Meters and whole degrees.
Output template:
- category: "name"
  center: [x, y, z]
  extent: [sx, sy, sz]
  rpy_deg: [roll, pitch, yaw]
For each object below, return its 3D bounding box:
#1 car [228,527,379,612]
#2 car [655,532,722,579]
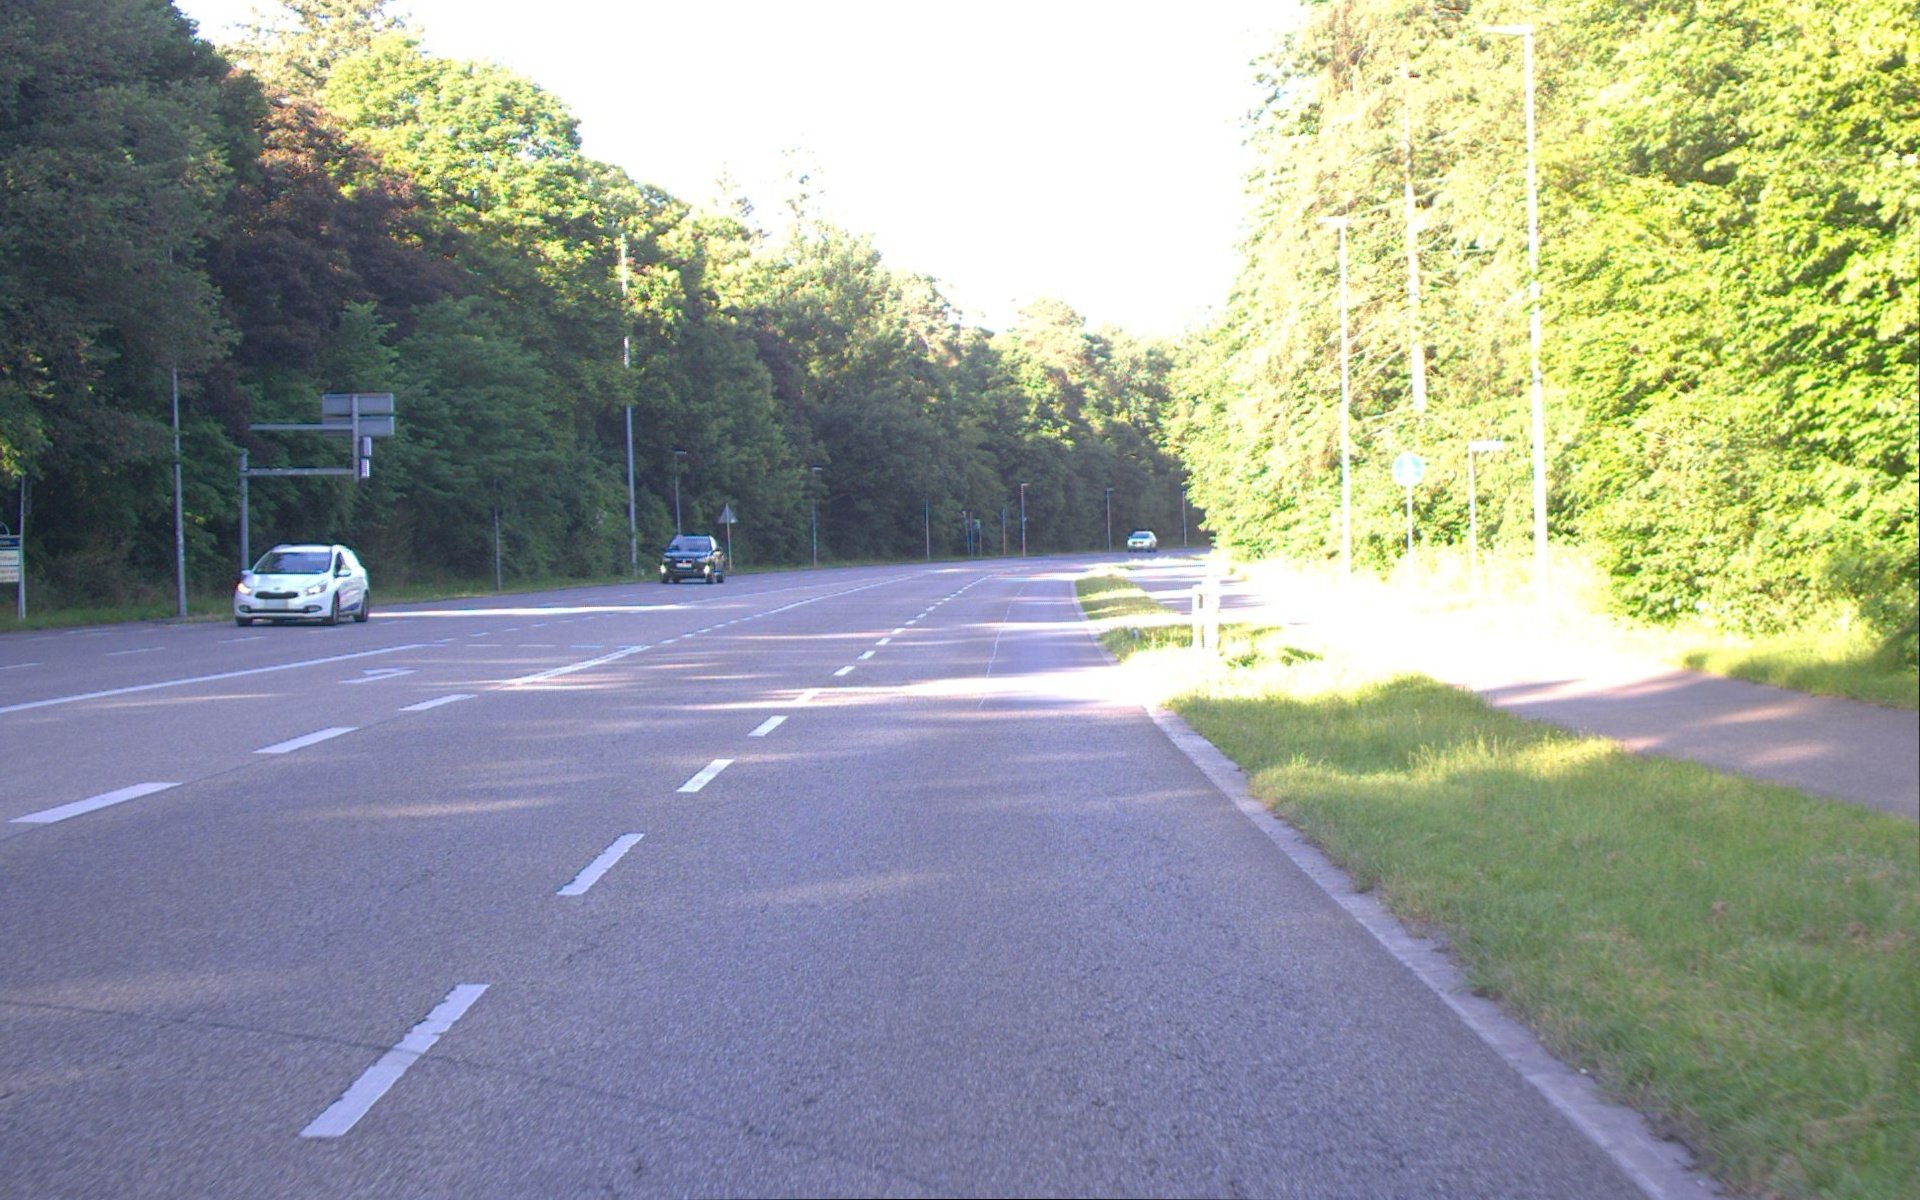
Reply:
- category: "car"
  center: [-11.972, -0.587, 62.930]
  extent: [1.825, 1.499, 4.306]
  rpy_deg: [0, 1, 2]
- category: "car"
  center: [-9.288, -1.539, 117.675]
  extent: [1.825, 1.584, 4.351]
  rpy_deg: [0, 1, 2]
